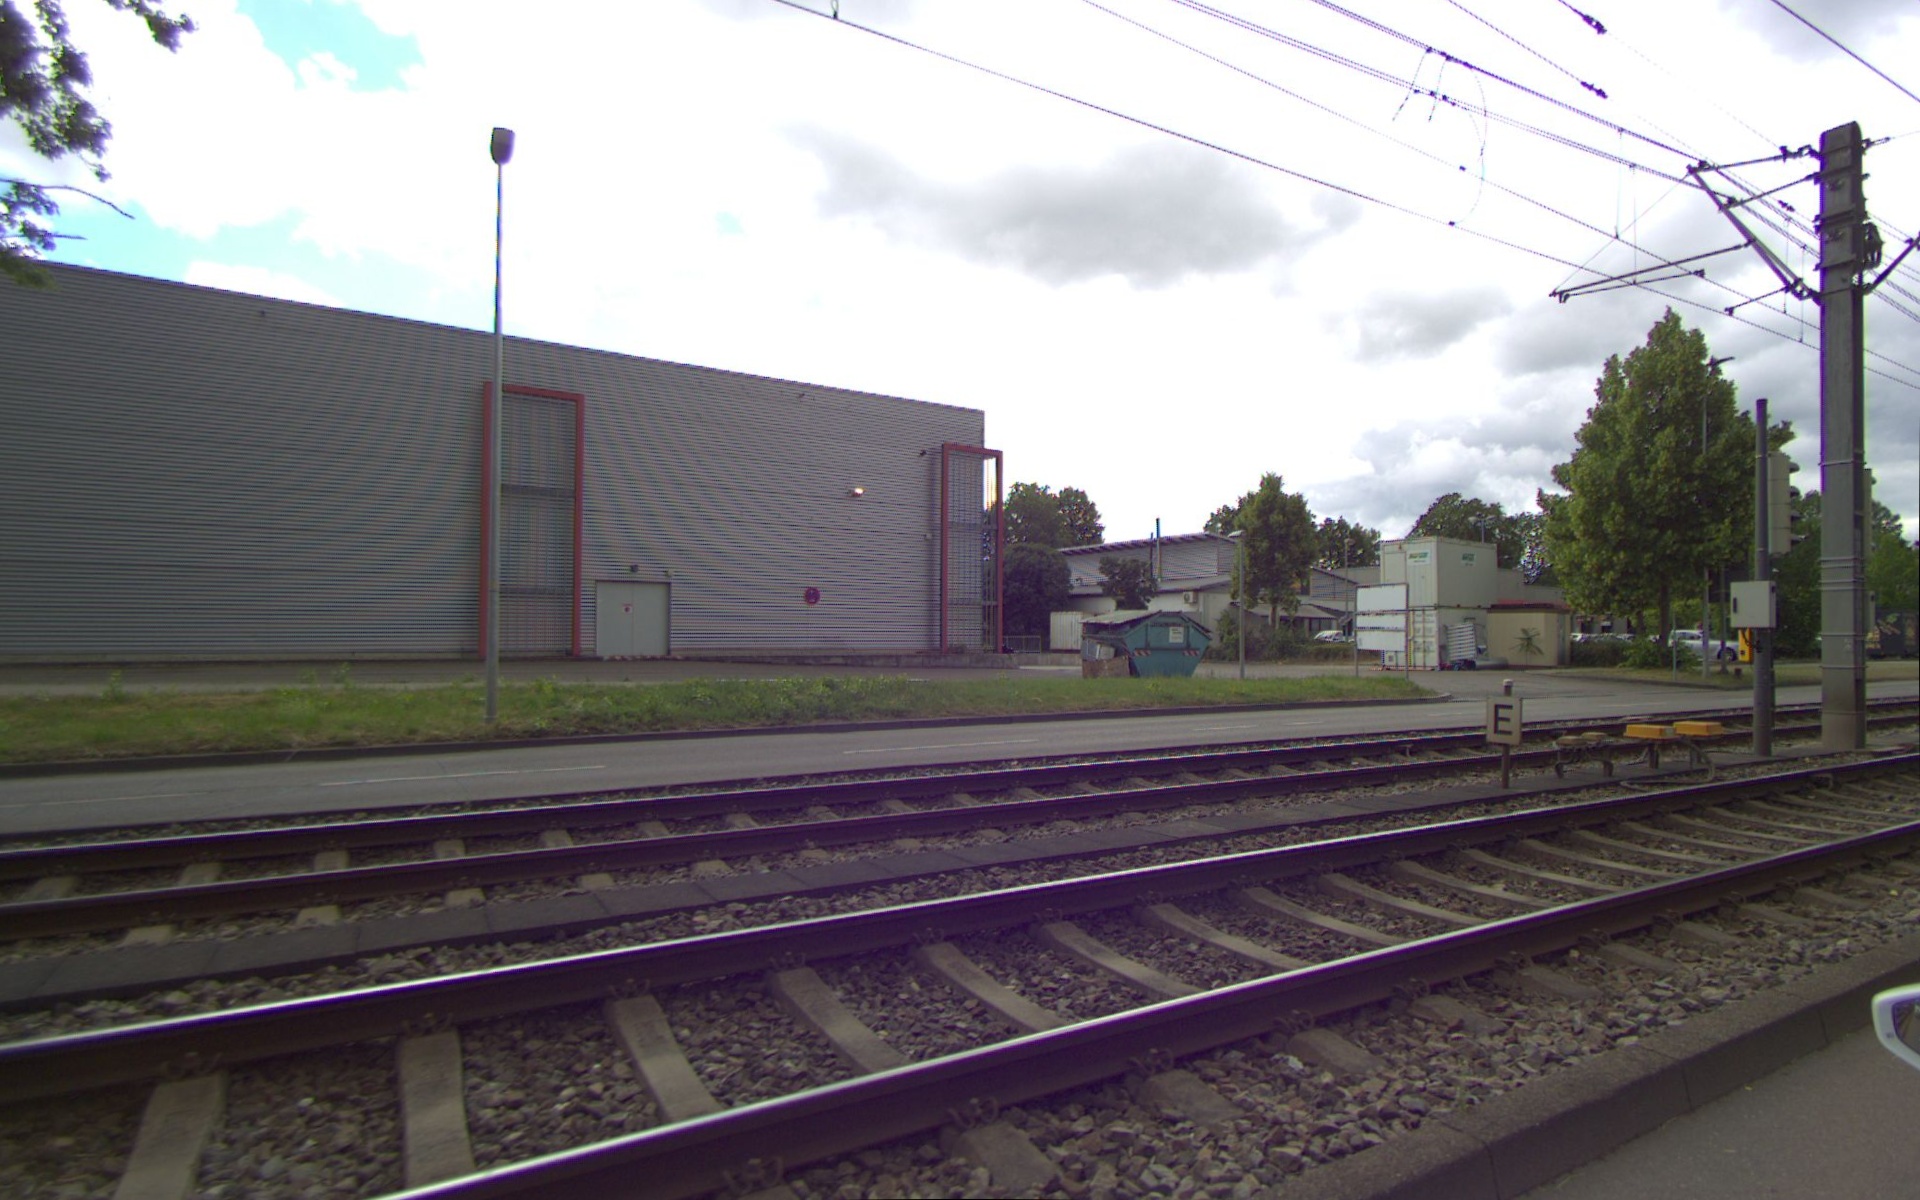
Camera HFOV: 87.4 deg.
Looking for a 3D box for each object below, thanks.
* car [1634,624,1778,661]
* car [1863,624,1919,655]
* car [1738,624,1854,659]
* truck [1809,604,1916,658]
[{"bbox_3d":[34.844,1.949,47.047,2.620,1.650,4.761,0,-2,-29],"label":"car"},{"bbox_3d":[58.291,2.414,61.615,1.859,1.821,3.963,1,-2,-34],"label":"car"},{"bbox_3d":[42.927,2.119,51.671,1.973,1.750,4.198,1,-2,-32],"label":"car"},{"bbox_3d":[50.508,1.739,56.276,2.350,2.859,3.965,1,-2,-32],"label":"truck"}]
